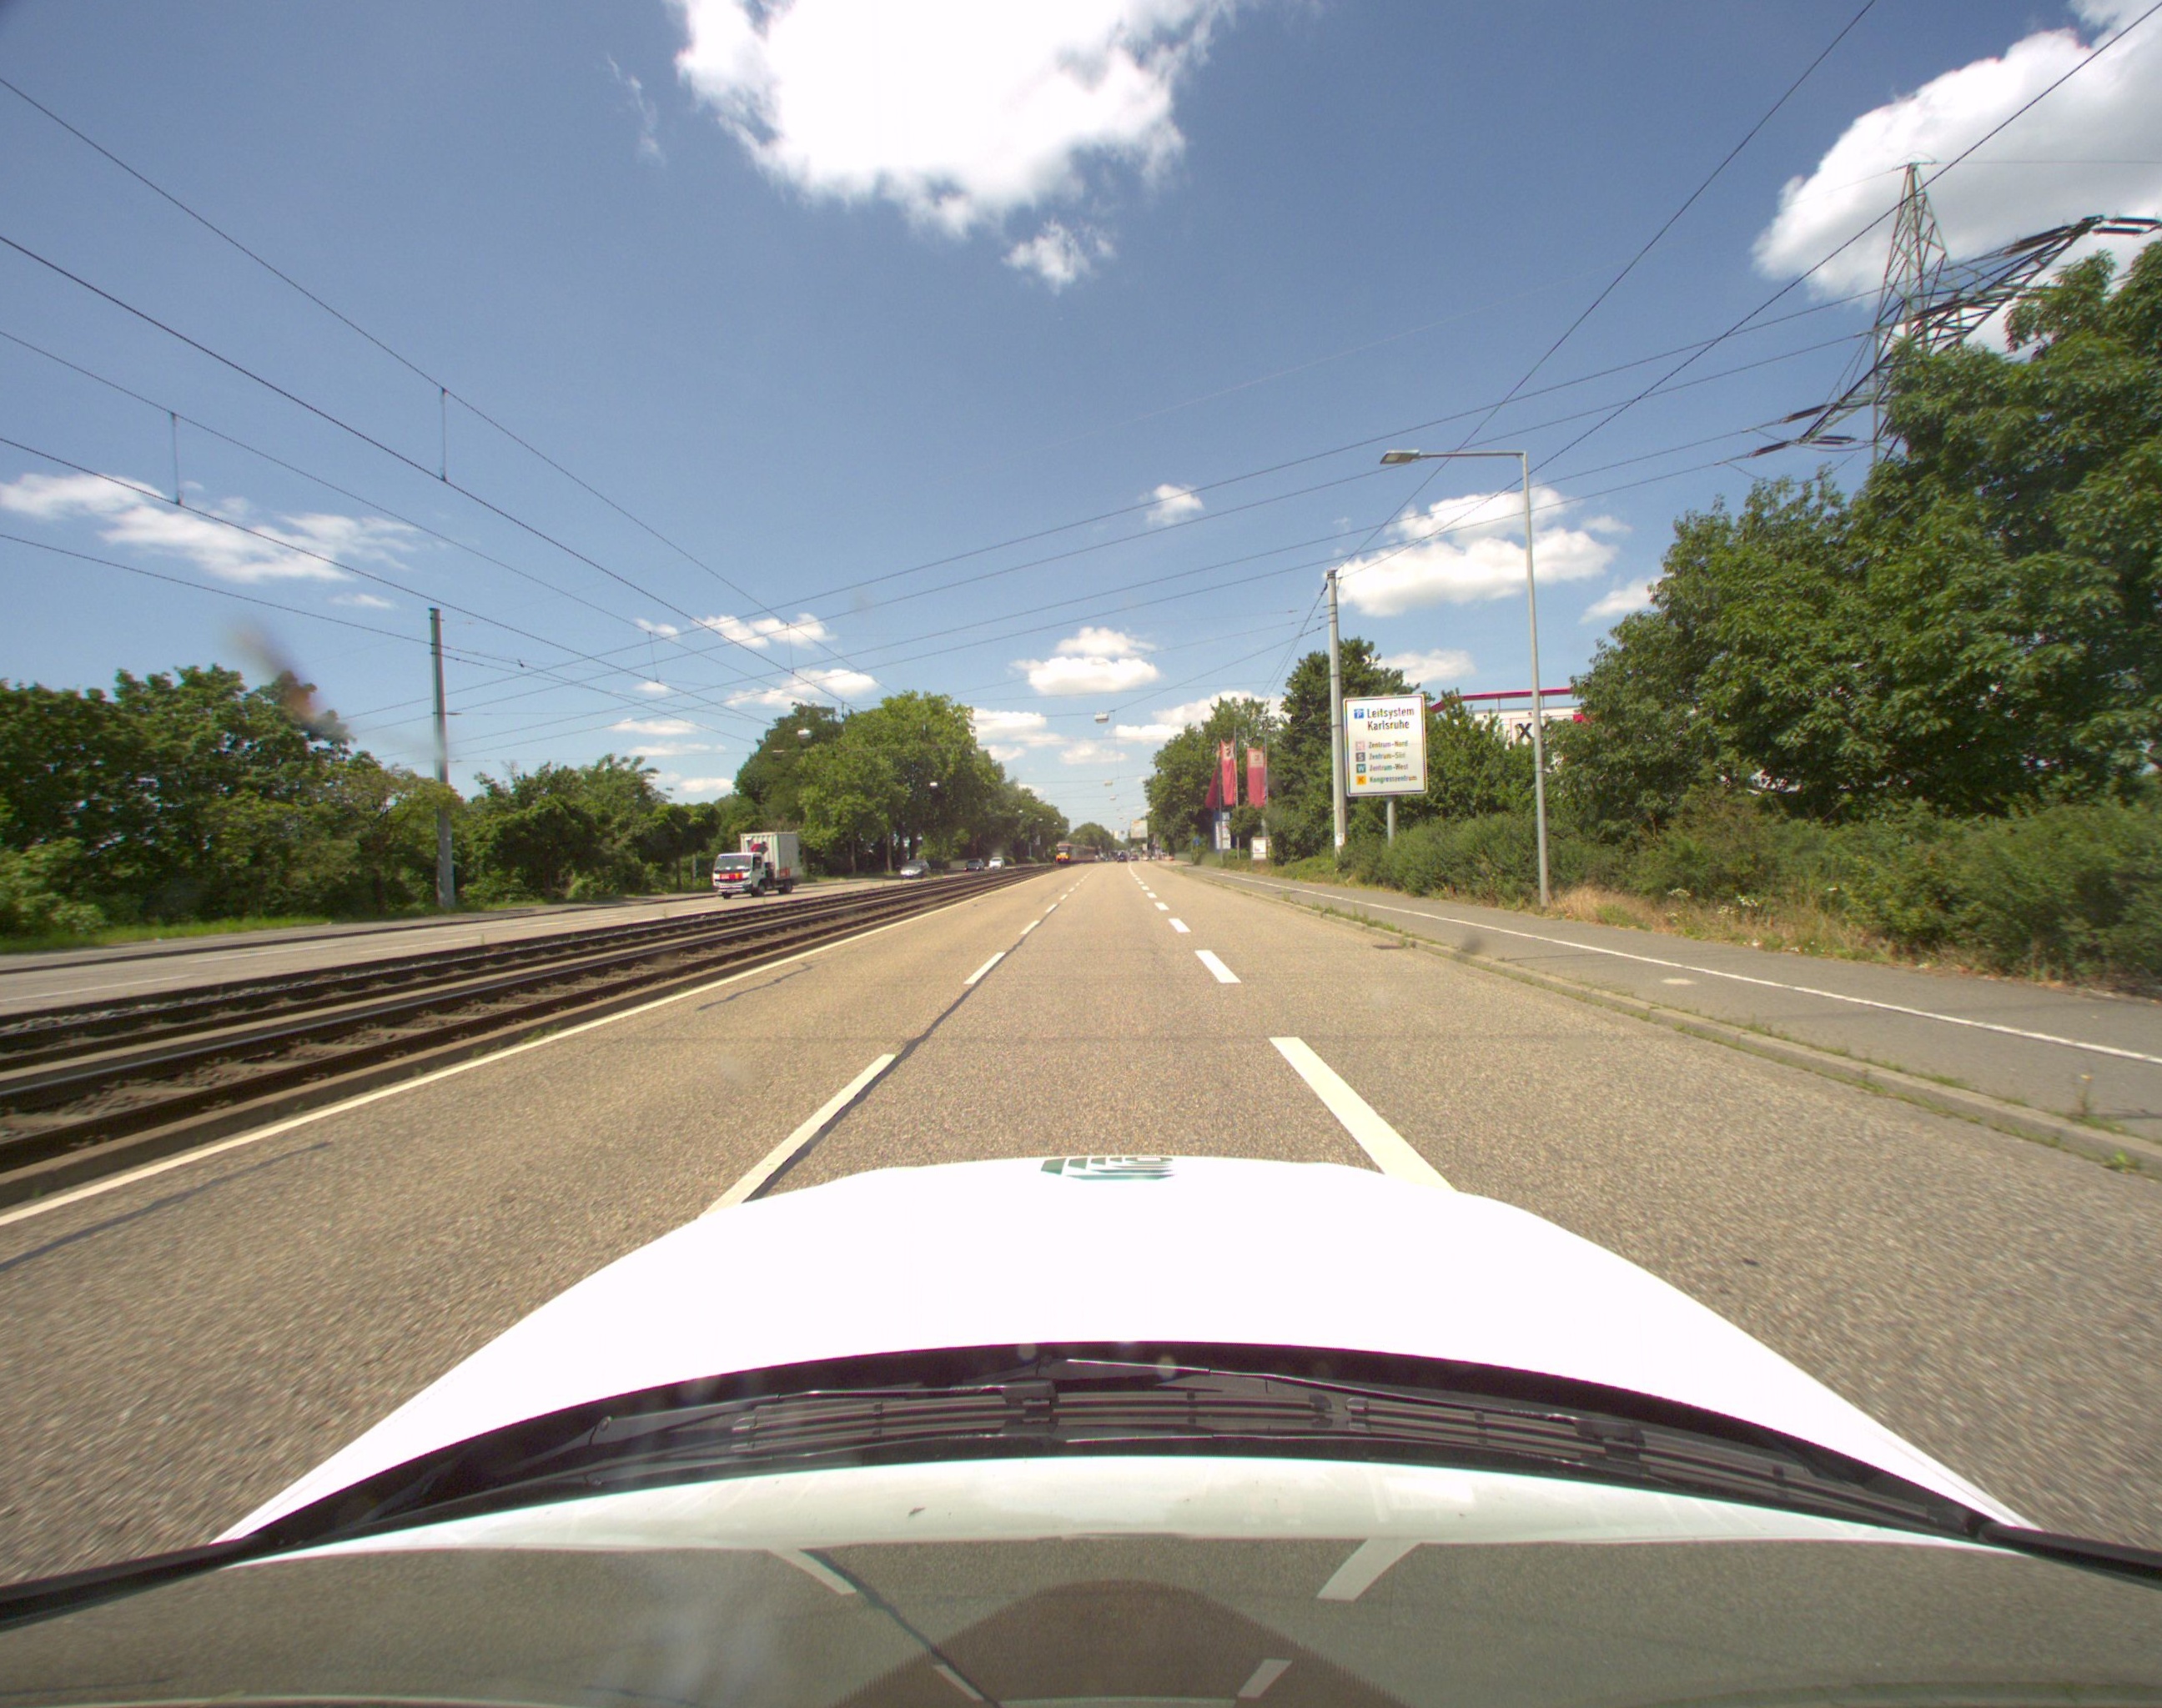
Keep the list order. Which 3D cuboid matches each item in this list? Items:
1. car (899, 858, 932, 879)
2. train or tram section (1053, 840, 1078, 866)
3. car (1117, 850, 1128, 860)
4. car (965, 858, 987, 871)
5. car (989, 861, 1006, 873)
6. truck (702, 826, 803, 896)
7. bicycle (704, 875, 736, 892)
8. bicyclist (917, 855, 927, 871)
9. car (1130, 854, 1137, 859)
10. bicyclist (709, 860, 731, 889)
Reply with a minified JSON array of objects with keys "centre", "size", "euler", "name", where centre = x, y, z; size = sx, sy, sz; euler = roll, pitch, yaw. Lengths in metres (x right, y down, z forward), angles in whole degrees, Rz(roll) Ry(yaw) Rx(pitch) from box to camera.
[{"centre":[-13.188,1.119,65.113],"size":[1.746,1.535,3.958],"euler":[-3,0,1],"name":"car"},{"centre":[-2.550,-0.220,143.791],"size":[3.035,4.267,15.437],"euler":[-2,0,3],"name":"train or tram section"},{"centre":[7.454,0.166,145.726],"size":[1.892,1.805,3.978],"euler":[0,0,2],"name":"car"},{"centre":[-11.704,1.158,90.773],"size":[1.630,1.421,4.130],"euler":[-3,0,3],"name":"car"},{"centre":[-11.050,1.747,107.652],"size":[1.631,1.436,3.723],"euler":[-3,0,2],"name":"car"},{"centre":[-16.456,0.329,41.301],"size":[2.240,3.236,6.048],"euler":[-2,0,4],"name":"truck"},{"centre":[-20.200,1.646,45.641],"size":[0.647,0.859,2.124],"euler":[0,0,6],"name":"bicycle"},{"centre":[-15.866,0.917,81.440],"size":[0.619,1.617,1.064],"euler":[0,0,8],"name":"bicyclist"},{"centre":[16.654,0.930,258.840],"size":[1.869,1.539,3.778],"euler":[0,0,2],"name":"car"},{"centre":[-20.203,1.141,45.605],"size":[0.647,1.620,1.157],"euler":[0,0,6],"name":"bicyclist"}]
